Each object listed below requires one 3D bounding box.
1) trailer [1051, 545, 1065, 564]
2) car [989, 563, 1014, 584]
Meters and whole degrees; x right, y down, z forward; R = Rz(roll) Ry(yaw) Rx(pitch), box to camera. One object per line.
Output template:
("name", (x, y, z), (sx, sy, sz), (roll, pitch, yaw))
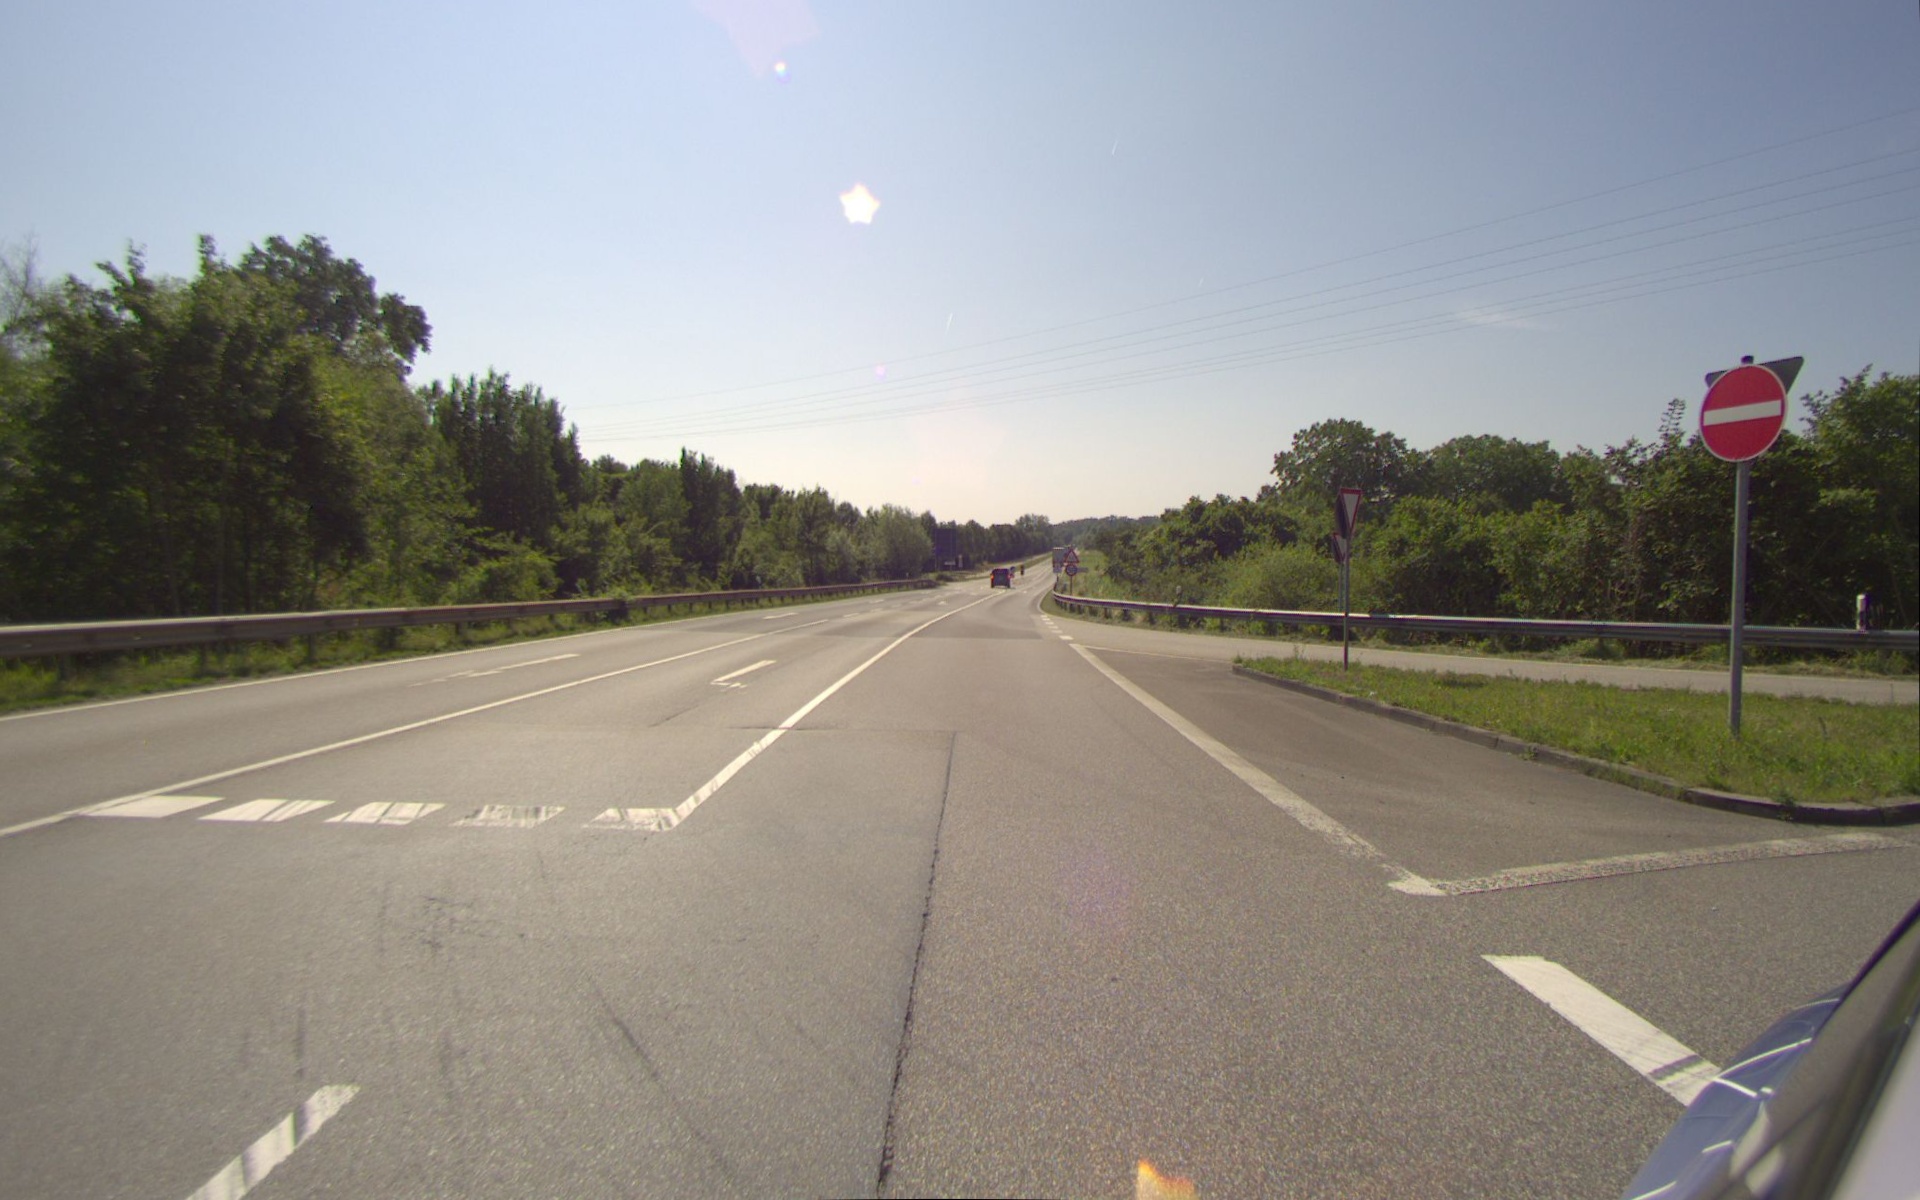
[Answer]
("trailer", (22.531, -10.405, 232.965), (2.880, 4.059, 13.394), (0, 2, 7))
("car", (4.017, -2.535, 97.621), (1.966, 1.903, 4.985), (1, 1, 7))
